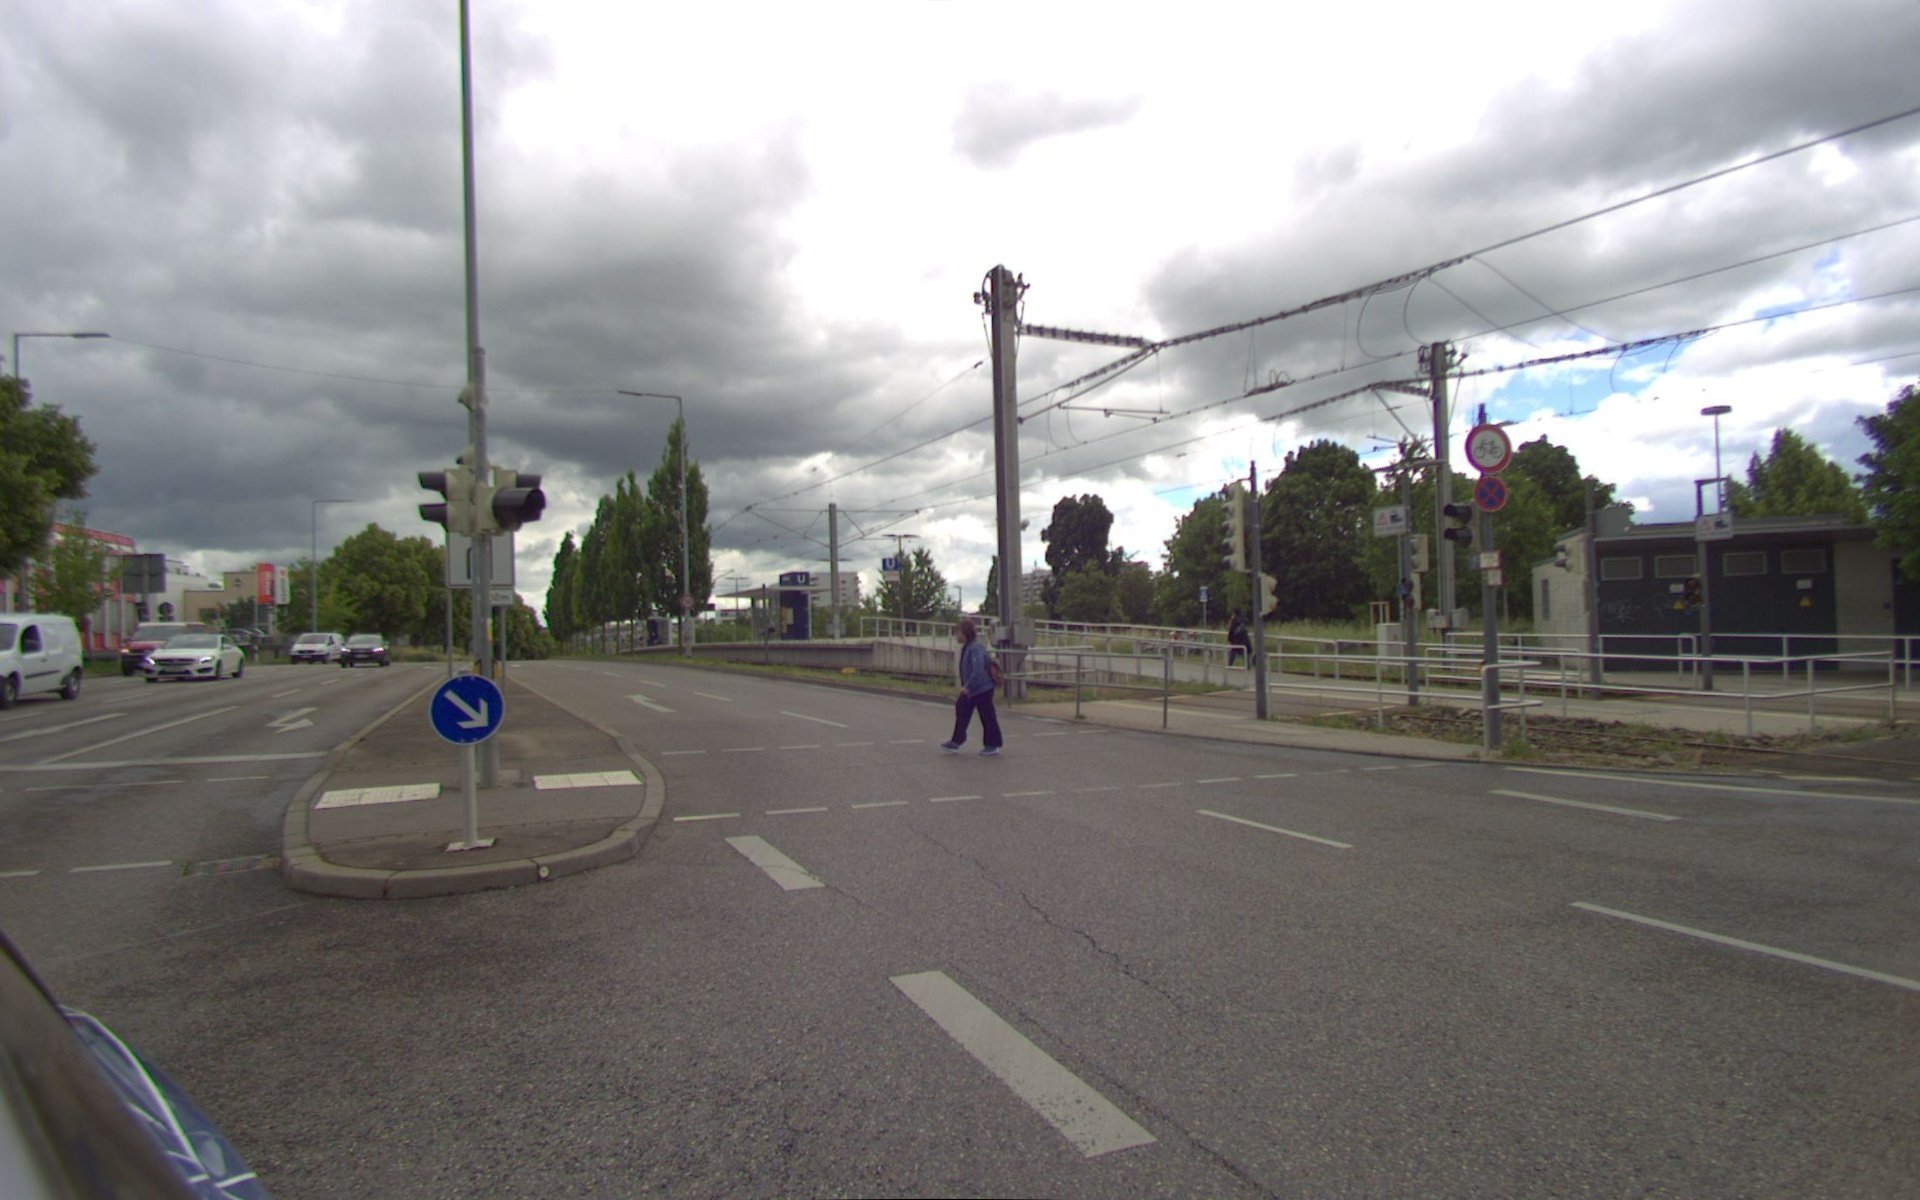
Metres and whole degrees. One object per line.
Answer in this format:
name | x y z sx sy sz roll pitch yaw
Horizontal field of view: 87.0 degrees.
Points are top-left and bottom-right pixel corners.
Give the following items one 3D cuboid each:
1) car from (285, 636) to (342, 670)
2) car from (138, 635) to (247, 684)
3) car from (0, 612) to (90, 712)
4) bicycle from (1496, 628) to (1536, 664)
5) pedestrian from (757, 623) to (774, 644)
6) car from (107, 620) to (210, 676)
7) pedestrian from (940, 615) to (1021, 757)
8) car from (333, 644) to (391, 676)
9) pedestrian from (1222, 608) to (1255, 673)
car | -39.337 3.163 61.704 1.917 1.920 5.254 0 -2 -21
car | -23.532 1.880 31.185 1.783 1.351 4.235 1 -5 -25
car | -18.947 1.201 19.657 1.783 1.806 4.711 0 -3 -24
bicycle | 17.800 1.452 32.436 0.673 1.114 2.243 -1 -1 17
pedestrian | -11.076 1.920 57.592 0.738 1.184 0.840 0 -1 -25
car | -30.421 1.862 38.562 2.147 1.920 4.467 1 -5 -26
pedestrian | 0.220 0.943 11.434 0.703 1.542 0.673 0 -2 -20
car | -27.973 2.843 47.451 1.783 1.351 4.235 0 -5 -24
pedestrian | 6.955 1.000 25.311 0.554 1.584 0.547 0 0 -25
